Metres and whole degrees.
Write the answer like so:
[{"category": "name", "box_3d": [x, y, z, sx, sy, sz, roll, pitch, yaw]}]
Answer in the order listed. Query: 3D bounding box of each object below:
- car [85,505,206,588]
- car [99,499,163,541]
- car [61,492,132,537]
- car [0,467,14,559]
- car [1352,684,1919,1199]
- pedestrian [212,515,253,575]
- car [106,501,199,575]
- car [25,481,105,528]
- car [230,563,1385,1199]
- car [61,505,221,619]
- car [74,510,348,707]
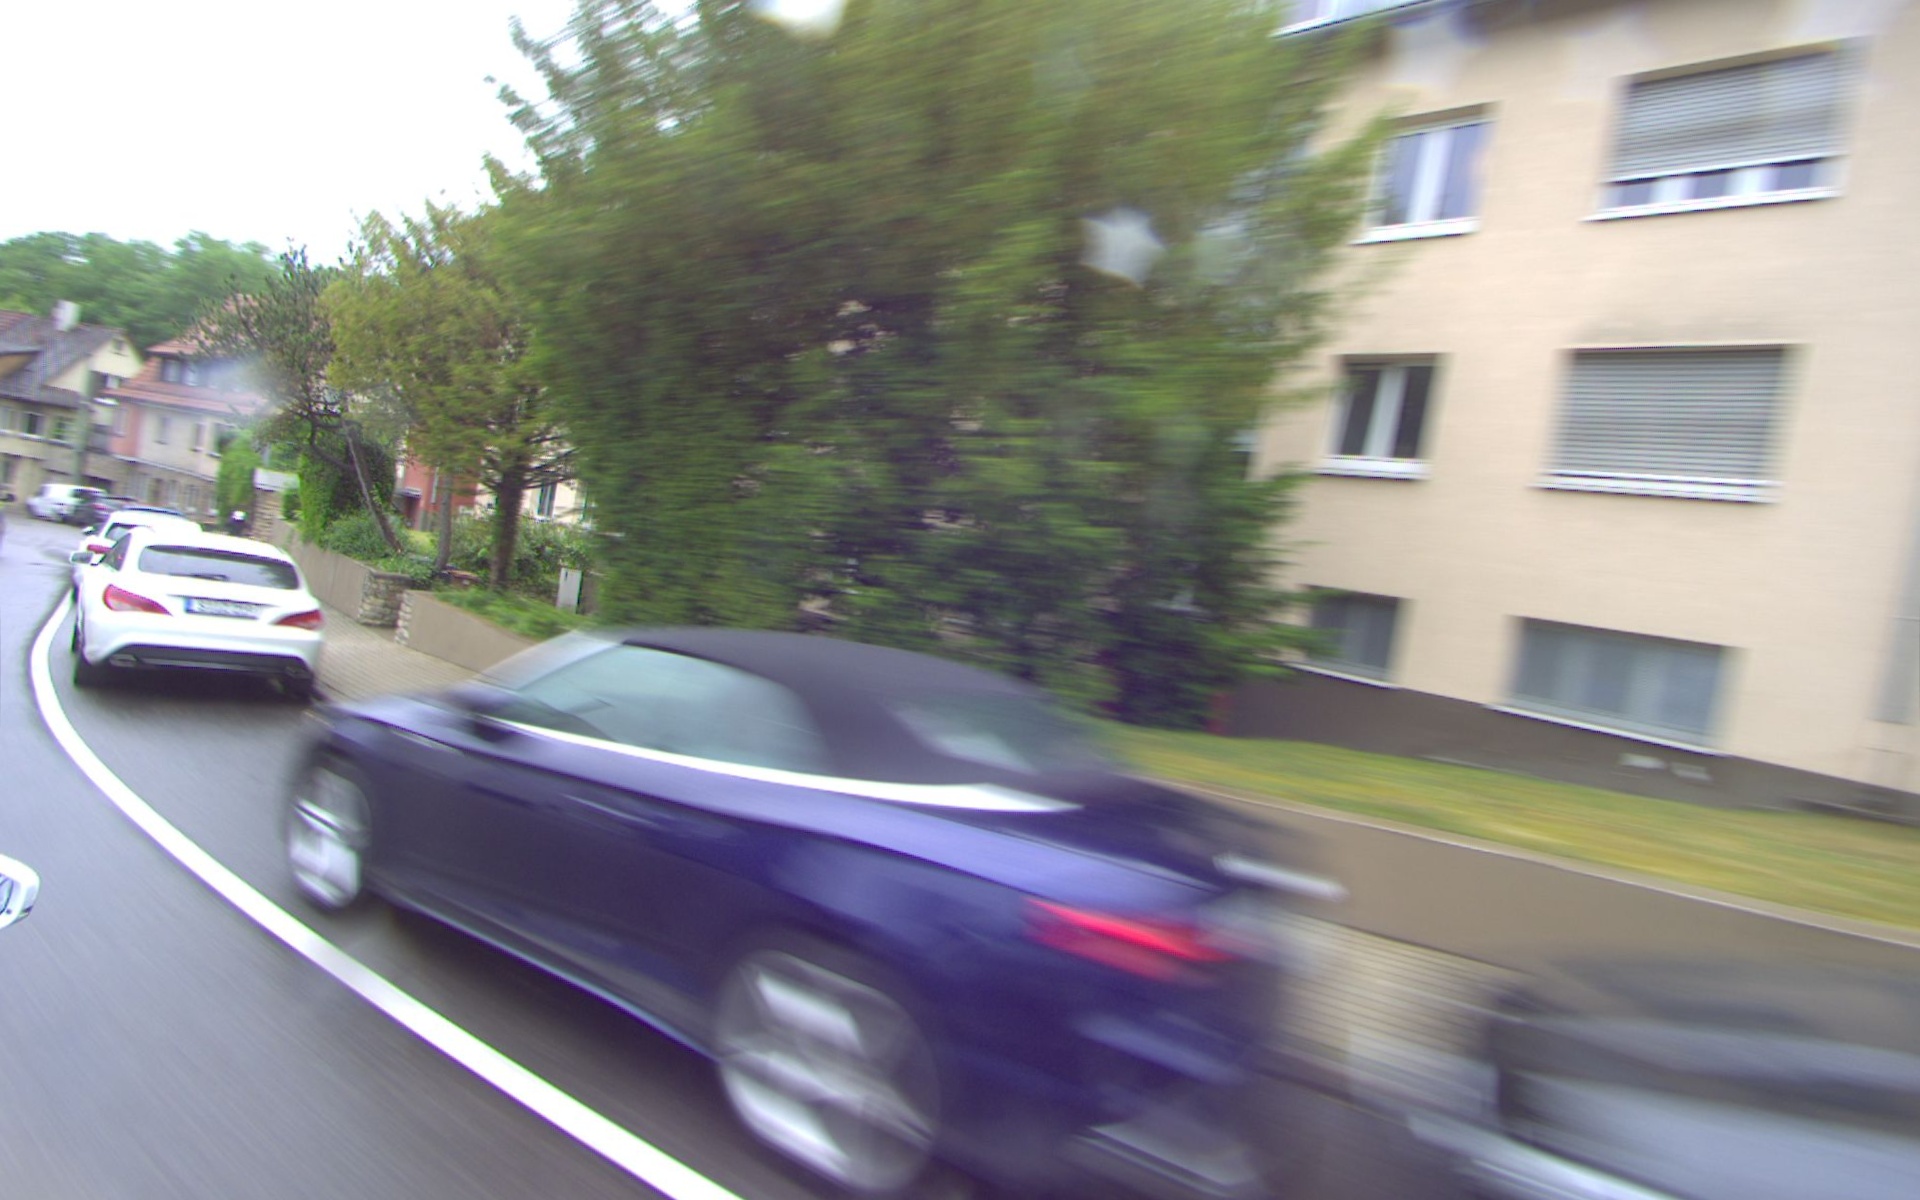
[{"category": "car", "box_3d": [-17.913, -1.228, 22.279, 1.680, 1.473, 4.212, 7, 0, -36]}, {"category": "car", "box_3d": [-35.533, -3.447, 43.090, 3.530, 1.455, 1.610, 9, 5, 42]}, {"category": "car", "box_3d": [-39.545, -3.921, 46.017, 4.344, 1.627, 1.612, 9, 4, 38]}, {"category": "car", "box_3d": [-20.866, -1.889, 20.440, 1.984, 1.917, 4.520, 6, 0, -40]}, {"category": "car", "box_3d": [3.053, 1.205, 1.542, 4.451, 1.454, 1.810, 7, 2, 26]}, {"category": "pedestrian", "box_3d": [-21.822, -1.641, 30.181, 0.603, 1.670, 0.621, 8, 0, 22]}, {"category": "car", "box_3d": [-21.932, -1.719, 27.273, 1.727, 1.613, 4.205, 7, 0, -41]}, {"category": "car", "box_3d": [-43.570, -4.666, 48.971, 4.253, 1.816, 1.705, 8, 4, 31]}, {"category": "car", "box_3d": [-0.944, 0.776, 4.078, 4.546, 1.366, 1.806, 7, 2, 34]}, {"category": "car", "box_3d": [-13.907, -0.697, 17.081, 1.800, 1.473, 4.205, 8, 0, -41]}, {"category": "car", "box_3d": [-7.648, -0.024, 10.069, 1.771, 1.454, 4.514, 4, 2, -42]}]
